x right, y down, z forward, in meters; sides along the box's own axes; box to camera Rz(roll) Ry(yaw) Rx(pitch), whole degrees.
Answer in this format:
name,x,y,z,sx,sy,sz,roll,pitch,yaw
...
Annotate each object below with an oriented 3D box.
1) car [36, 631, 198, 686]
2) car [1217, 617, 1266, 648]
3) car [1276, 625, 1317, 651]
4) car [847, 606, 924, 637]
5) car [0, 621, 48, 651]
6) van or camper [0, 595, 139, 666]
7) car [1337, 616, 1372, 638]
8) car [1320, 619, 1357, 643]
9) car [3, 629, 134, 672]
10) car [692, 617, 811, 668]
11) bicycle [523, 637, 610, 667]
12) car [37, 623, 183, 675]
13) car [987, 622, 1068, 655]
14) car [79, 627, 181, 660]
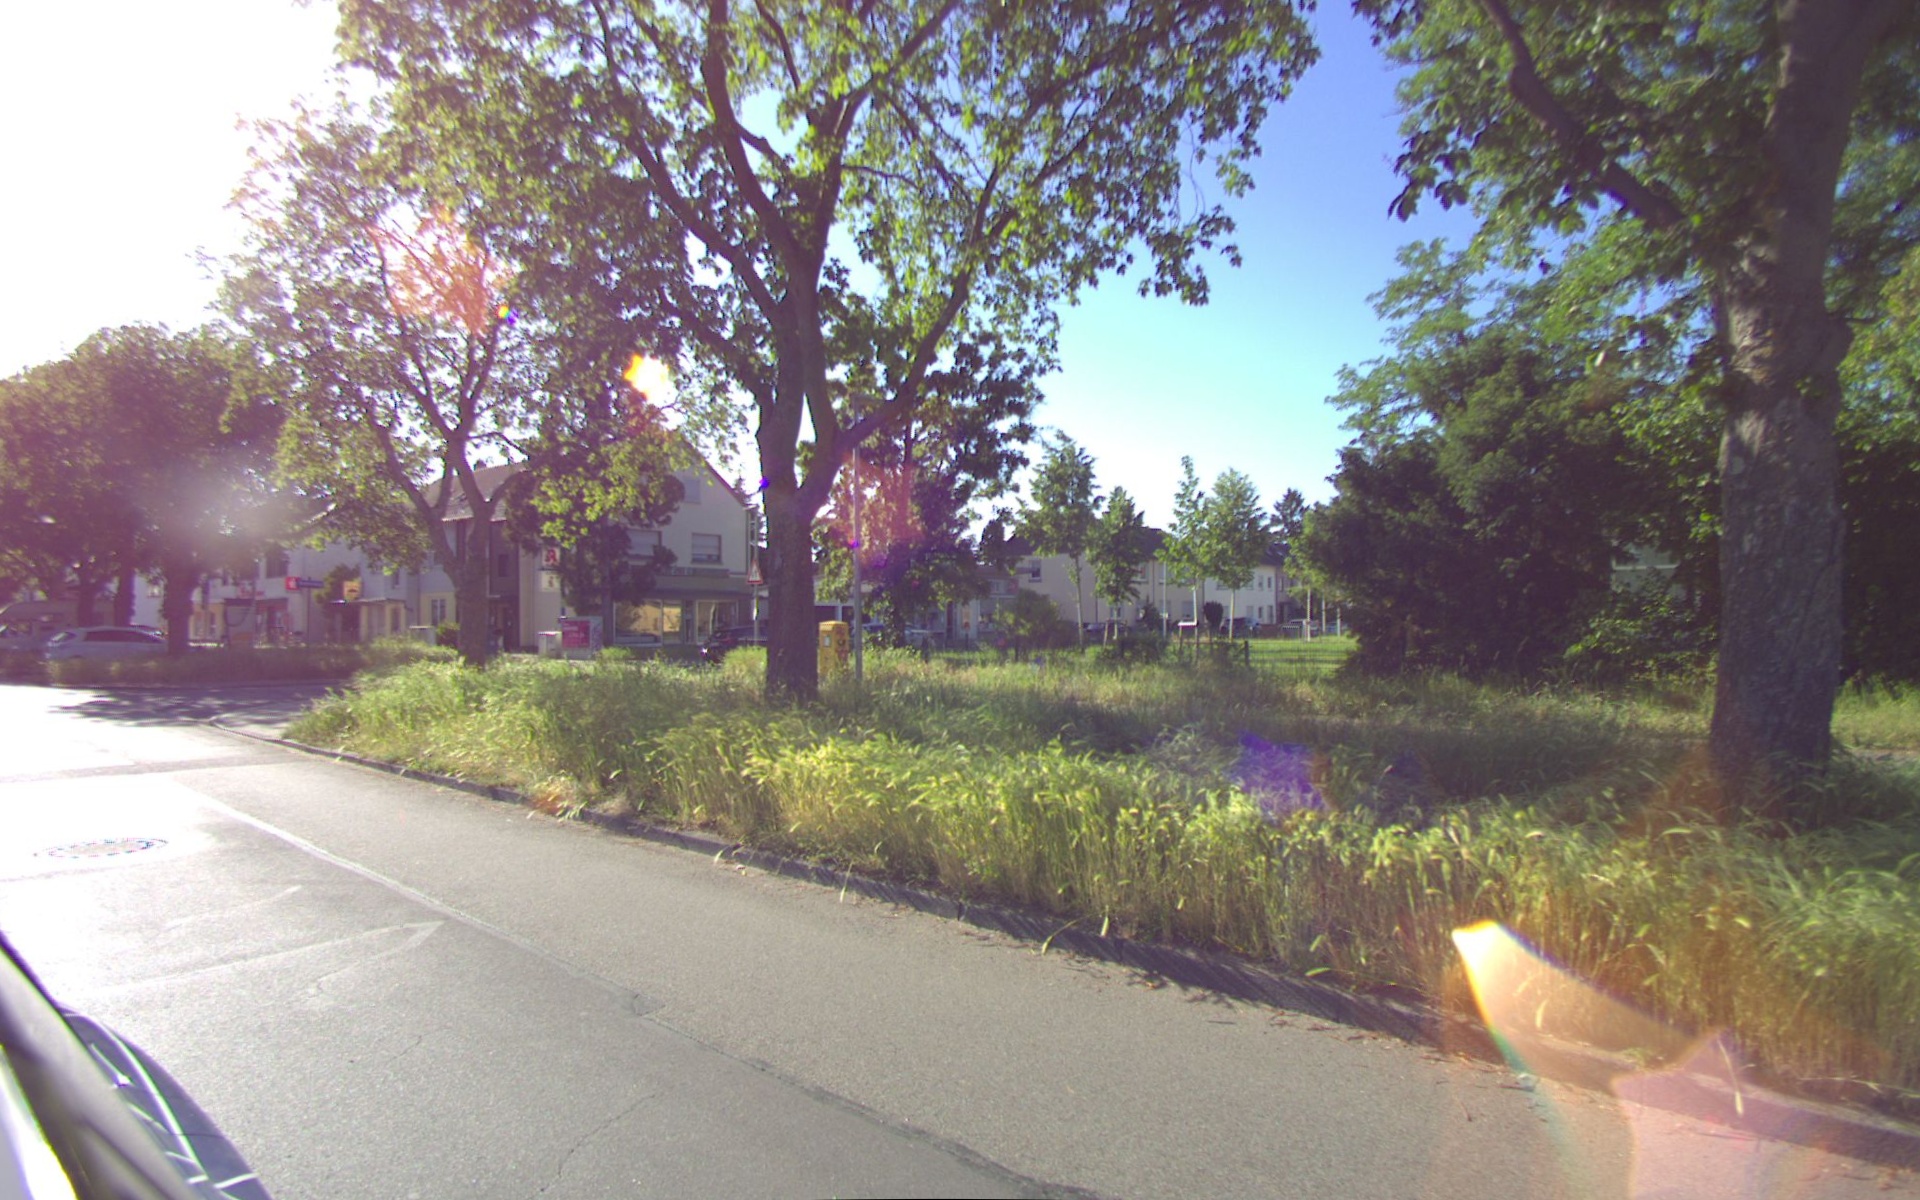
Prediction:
name,x,y,z,sx,sy,sz,roll,pitch,yaw
car,-28.435,1.924,34.202,1.965,1.673,3.946,-2,-1,40
car,20.146,2.290,72.363,1.997,1.962,3.949,-1,2,38
car,27.551,3.102,82.806,1.997,2.029,3.950,-2,-1,37
car,-3.841,1.131,52.004,3.755,1.530,1.781,-2,-1,39
car,-60.655,2.331,63.355,1.997,1.740,5.015,-1,2,37
van or camper,-40.790,1.332,45.509,2.000,2.826,5.713,-1,2,43
car,36.590,2.508,93.854,1.997,2.029,3.950,-2,-2,37
car,33.542,2.744,89.682,1.997,2.029,3.950,-2,-2,37
car,-38.483,2.134,43.758,1.998,1.469,3.948,-1,2,40
car,-7.509,1.495,36.704,1.821,1.727,3.945,-2,-1,41
bicycle,-15.878,2.097,40.746,4.033,1.185,0.700,-2,-2,25
car,-32.478,1.820,38.731,1.999,1.601,3.947,-1,2,40
car,3.384,1.868,50.223,1.999,1.551,3.945,-2,-2,41
car,-44.943,2.329,54.852,1.866,1.554,3.952,-1,0,36
